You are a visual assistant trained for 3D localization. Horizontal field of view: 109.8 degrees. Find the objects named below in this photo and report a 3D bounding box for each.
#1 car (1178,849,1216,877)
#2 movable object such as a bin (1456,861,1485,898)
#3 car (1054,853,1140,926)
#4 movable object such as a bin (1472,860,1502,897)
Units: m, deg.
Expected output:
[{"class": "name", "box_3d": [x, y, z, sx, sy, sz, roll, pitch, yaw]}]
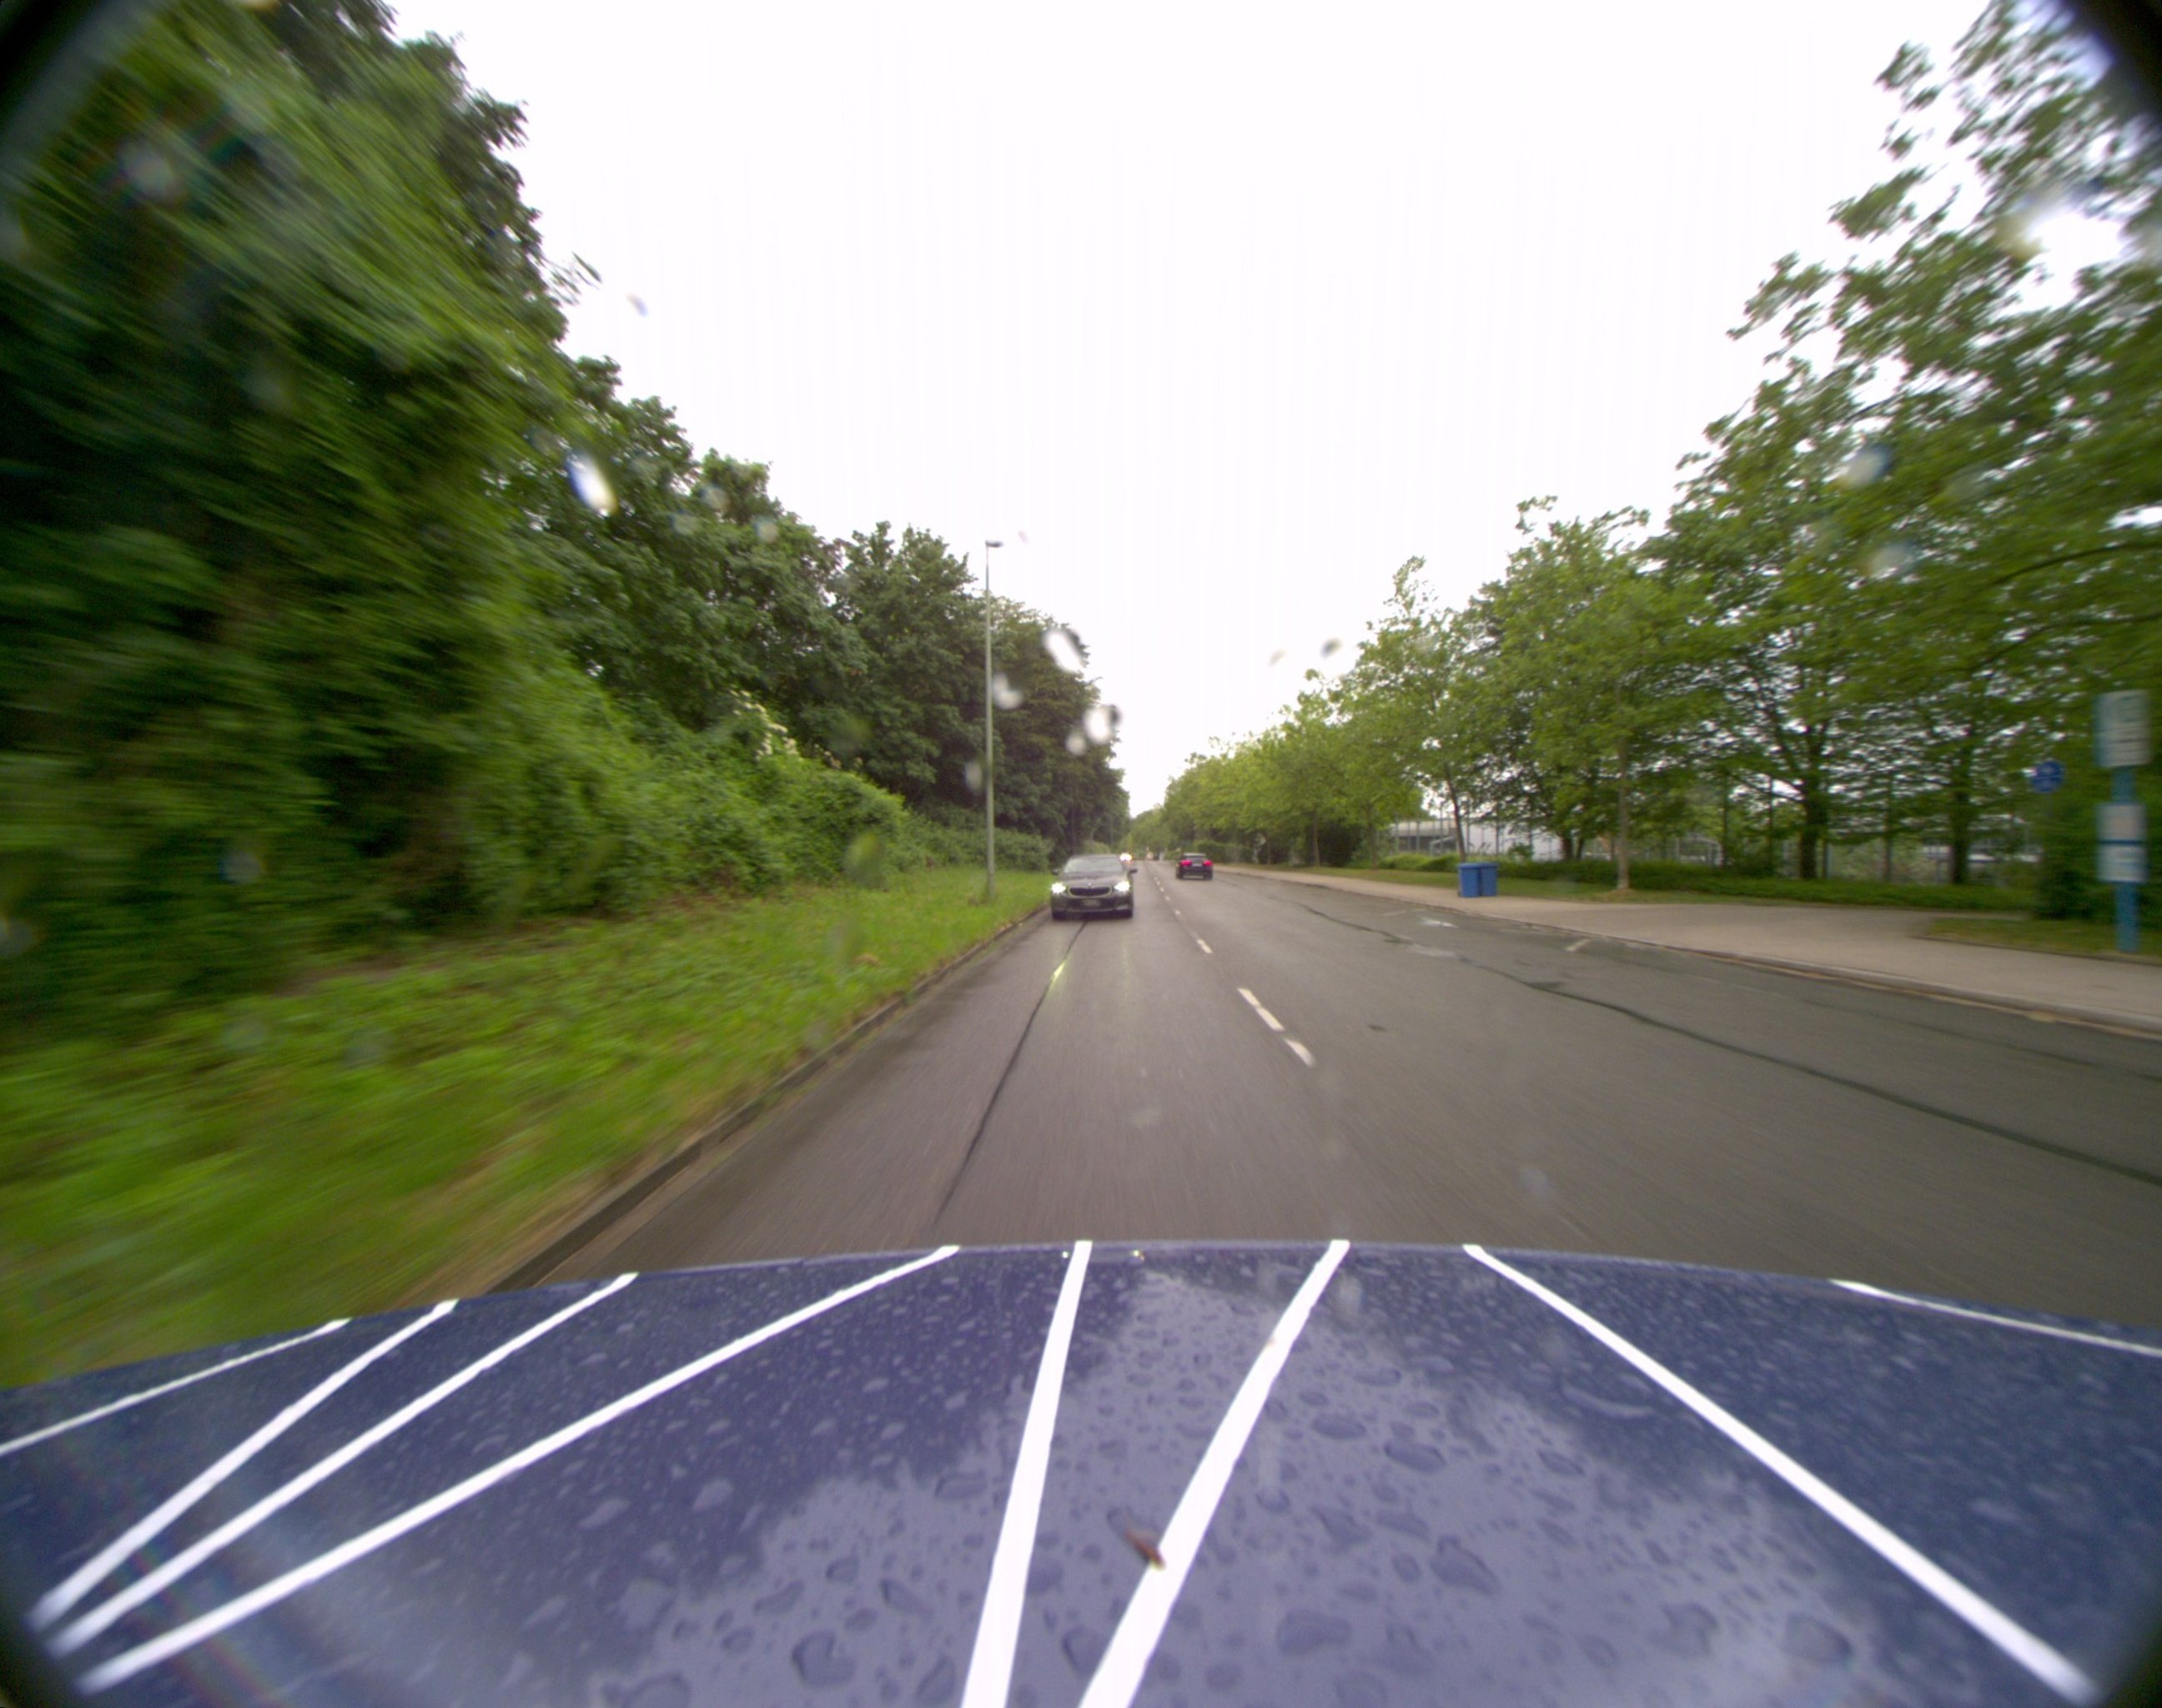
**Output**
[{"class": "car", "box_3d": [6.377, 0.468, 42.073, 1.830, 1.456, 4.001, 1, 1, 5]}, {"class": "movable object such as a bin", "box_3d": [12.071, 0.785, 23.571, 0.567, 1.092, 0.672, -3, 1, 6]}, {"class": "car", "box_3d": [0.354, 0.767, 18.926, 1.832, 1.499, 4.498, -2, 1, 0]}, {"class": "movable object such as a bin", "box_3d": [12.696, 0.763, 23.777, 0.567, 1.092, 0.672, -3, 1, 6]}]
